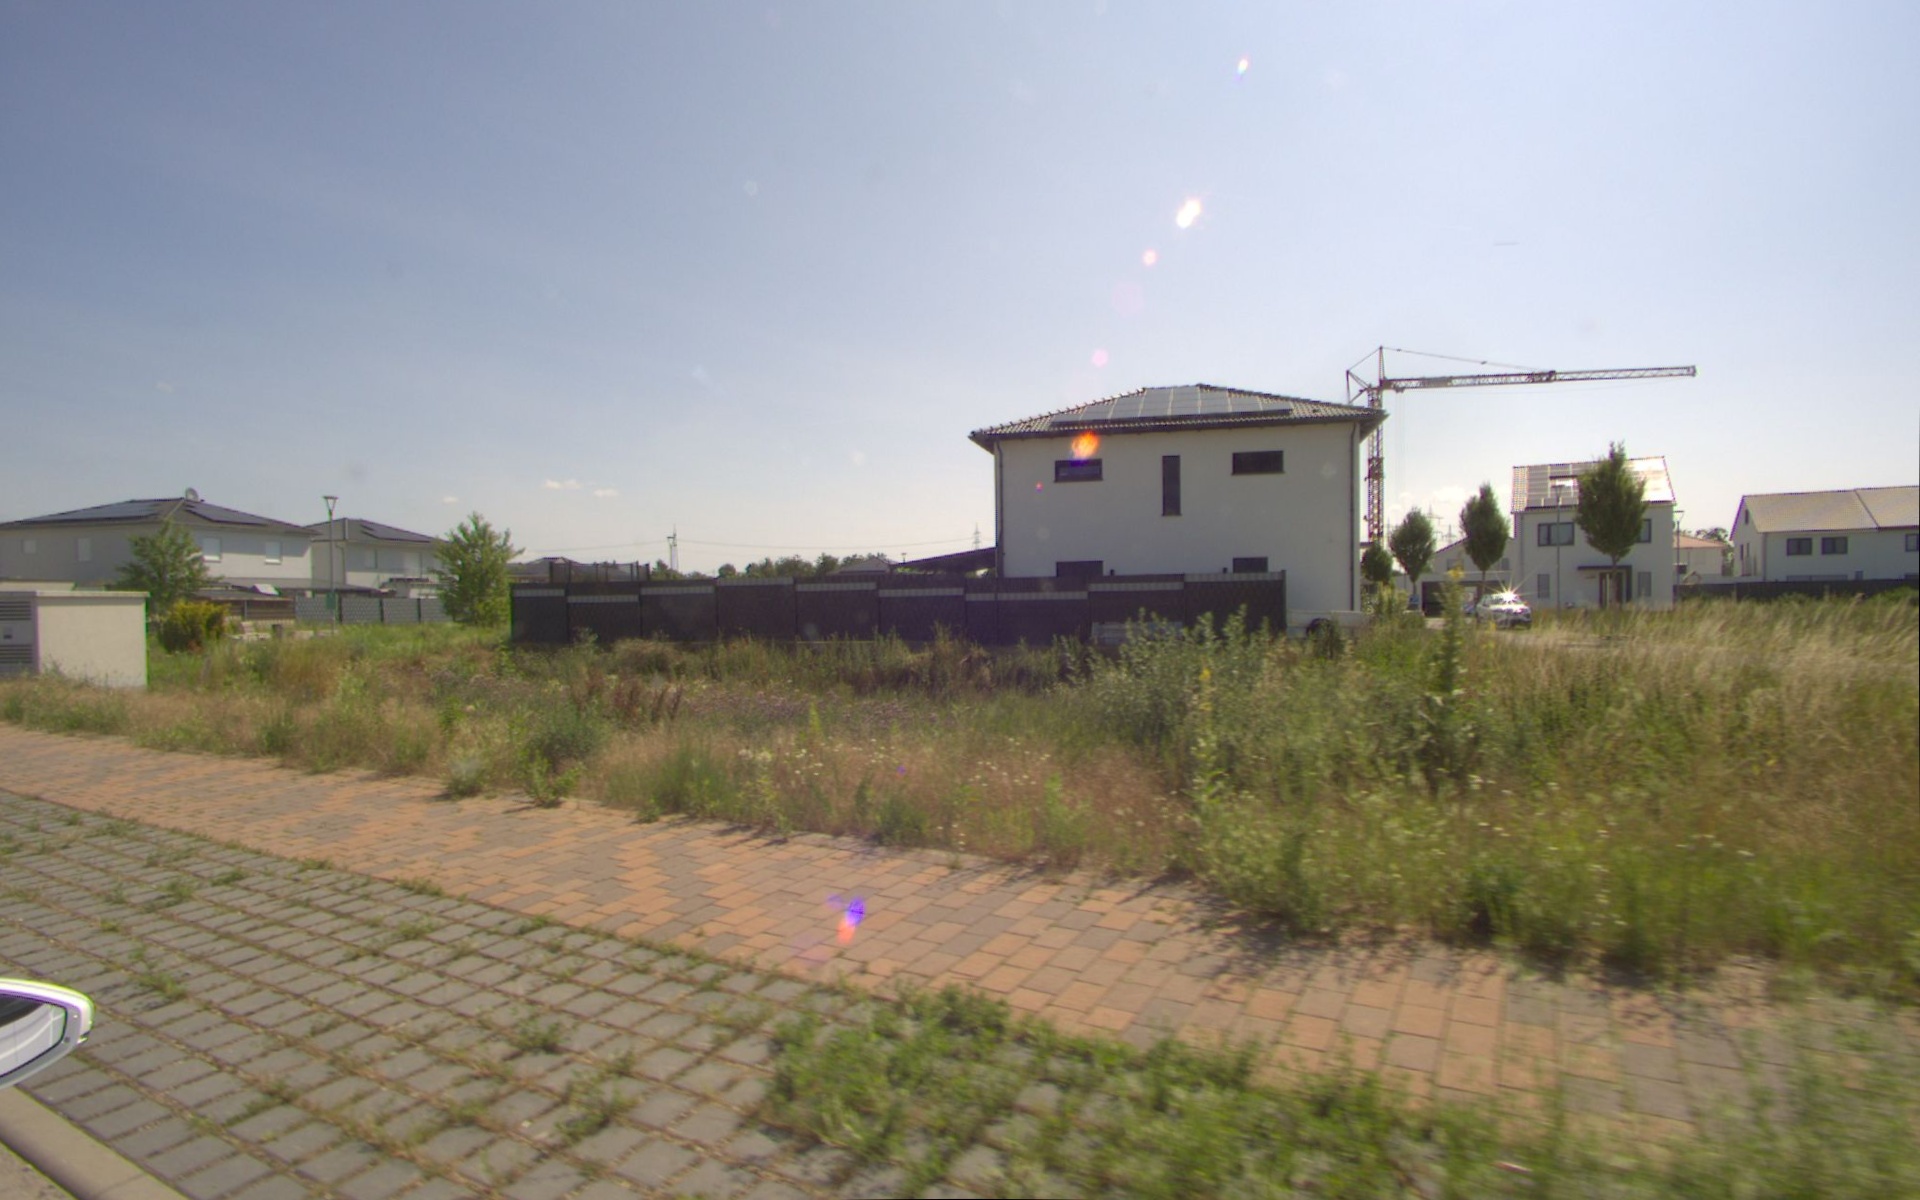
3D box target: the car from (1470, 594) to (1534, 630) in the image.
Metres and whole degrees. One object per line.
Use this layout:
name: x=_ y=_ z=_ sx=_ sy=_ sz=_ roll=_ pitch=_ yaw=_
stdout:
car: x=23.183 y=0.485 z=42.967 sx=1.711 sy=1.461 sz=3.824 roll=0 pitch=0 yaw=17

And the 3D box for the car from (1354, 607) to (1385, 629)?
car: x=28.523 y=1.209 z=69.844 sx=1.711 sy=1.461 sz=3.824 roll=0 pitch=0 yaw=17
